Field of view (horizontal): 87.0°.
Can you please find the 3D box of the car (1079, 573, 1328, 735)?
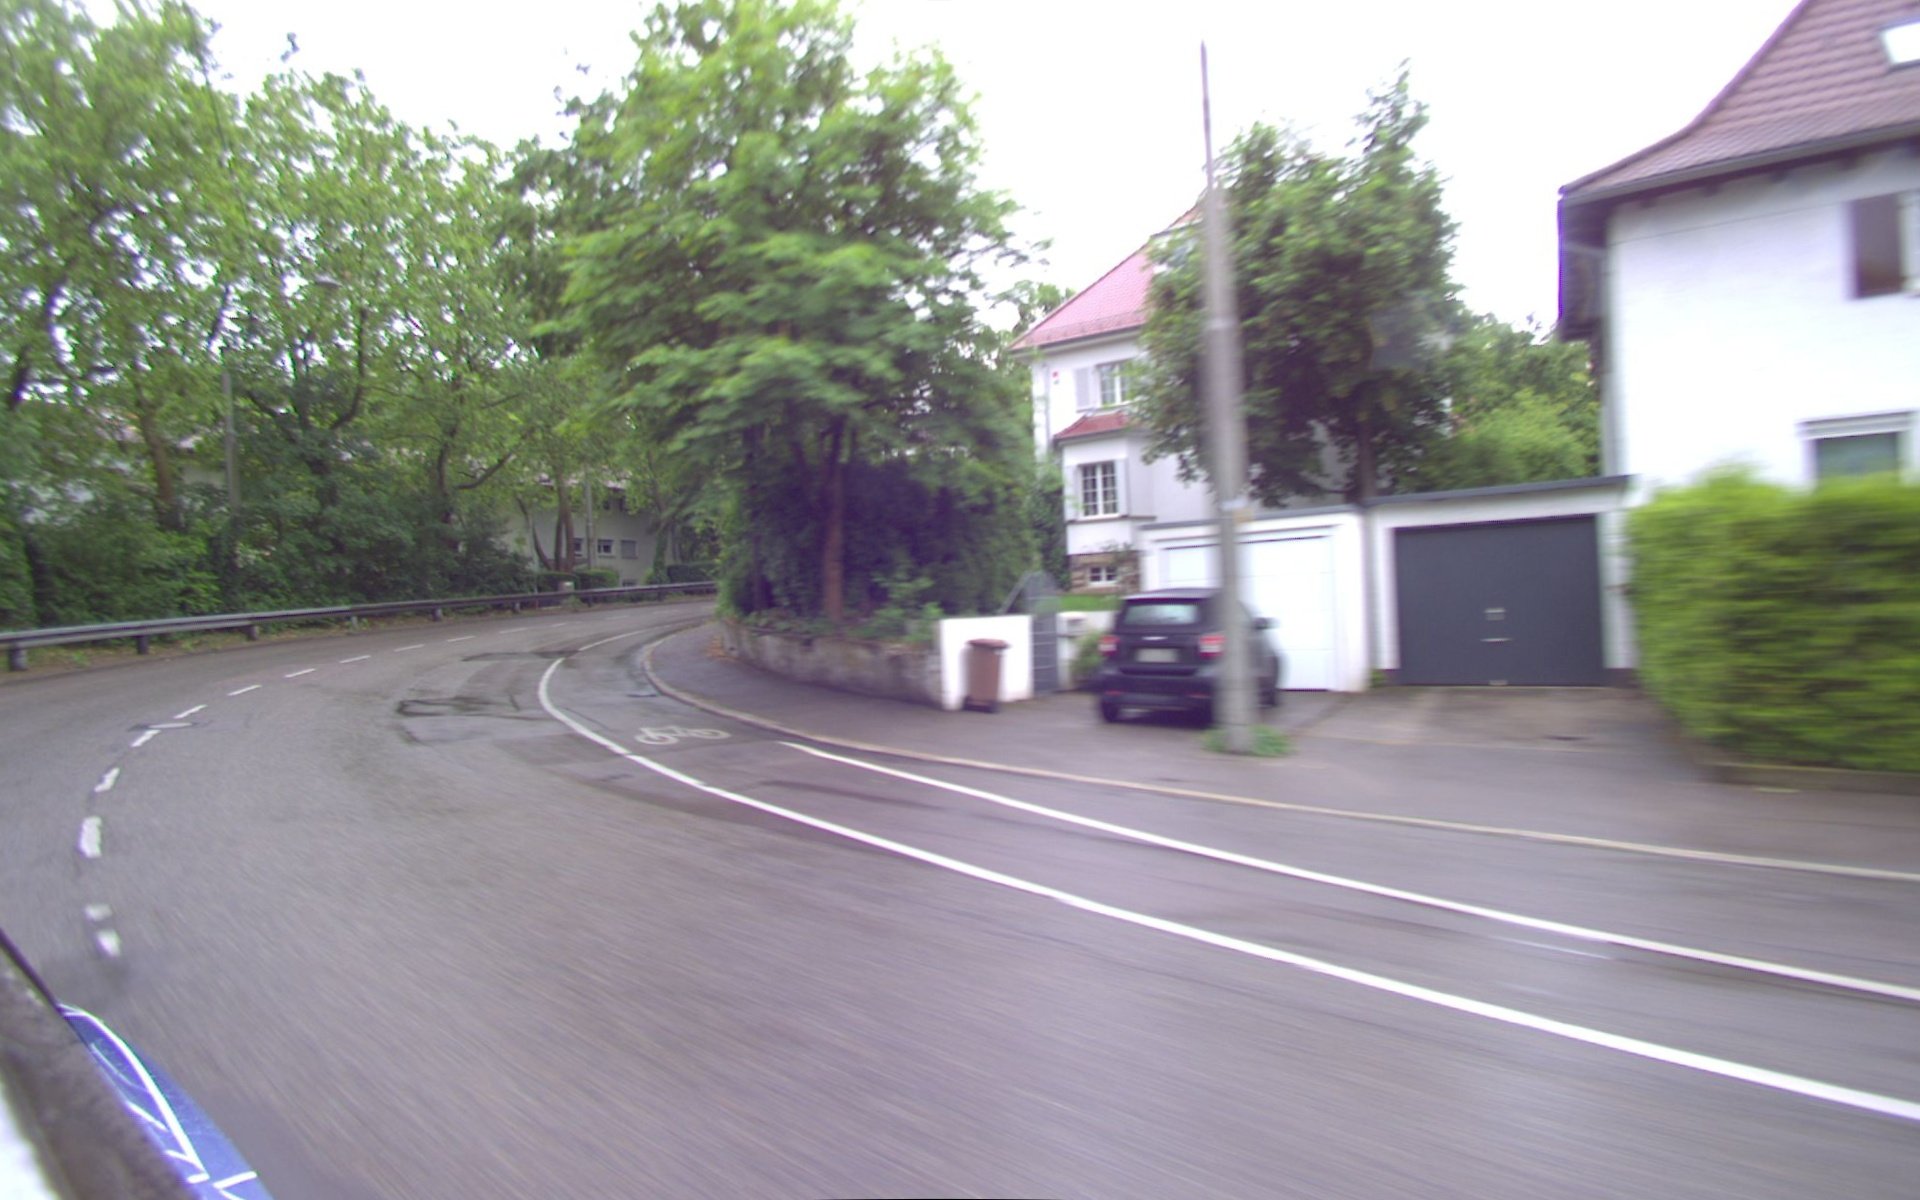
[{"bbox_3d":[3.118,0.547,12.537,1.819,1.531,3.307,-1,4,37],"label":"car"}]
